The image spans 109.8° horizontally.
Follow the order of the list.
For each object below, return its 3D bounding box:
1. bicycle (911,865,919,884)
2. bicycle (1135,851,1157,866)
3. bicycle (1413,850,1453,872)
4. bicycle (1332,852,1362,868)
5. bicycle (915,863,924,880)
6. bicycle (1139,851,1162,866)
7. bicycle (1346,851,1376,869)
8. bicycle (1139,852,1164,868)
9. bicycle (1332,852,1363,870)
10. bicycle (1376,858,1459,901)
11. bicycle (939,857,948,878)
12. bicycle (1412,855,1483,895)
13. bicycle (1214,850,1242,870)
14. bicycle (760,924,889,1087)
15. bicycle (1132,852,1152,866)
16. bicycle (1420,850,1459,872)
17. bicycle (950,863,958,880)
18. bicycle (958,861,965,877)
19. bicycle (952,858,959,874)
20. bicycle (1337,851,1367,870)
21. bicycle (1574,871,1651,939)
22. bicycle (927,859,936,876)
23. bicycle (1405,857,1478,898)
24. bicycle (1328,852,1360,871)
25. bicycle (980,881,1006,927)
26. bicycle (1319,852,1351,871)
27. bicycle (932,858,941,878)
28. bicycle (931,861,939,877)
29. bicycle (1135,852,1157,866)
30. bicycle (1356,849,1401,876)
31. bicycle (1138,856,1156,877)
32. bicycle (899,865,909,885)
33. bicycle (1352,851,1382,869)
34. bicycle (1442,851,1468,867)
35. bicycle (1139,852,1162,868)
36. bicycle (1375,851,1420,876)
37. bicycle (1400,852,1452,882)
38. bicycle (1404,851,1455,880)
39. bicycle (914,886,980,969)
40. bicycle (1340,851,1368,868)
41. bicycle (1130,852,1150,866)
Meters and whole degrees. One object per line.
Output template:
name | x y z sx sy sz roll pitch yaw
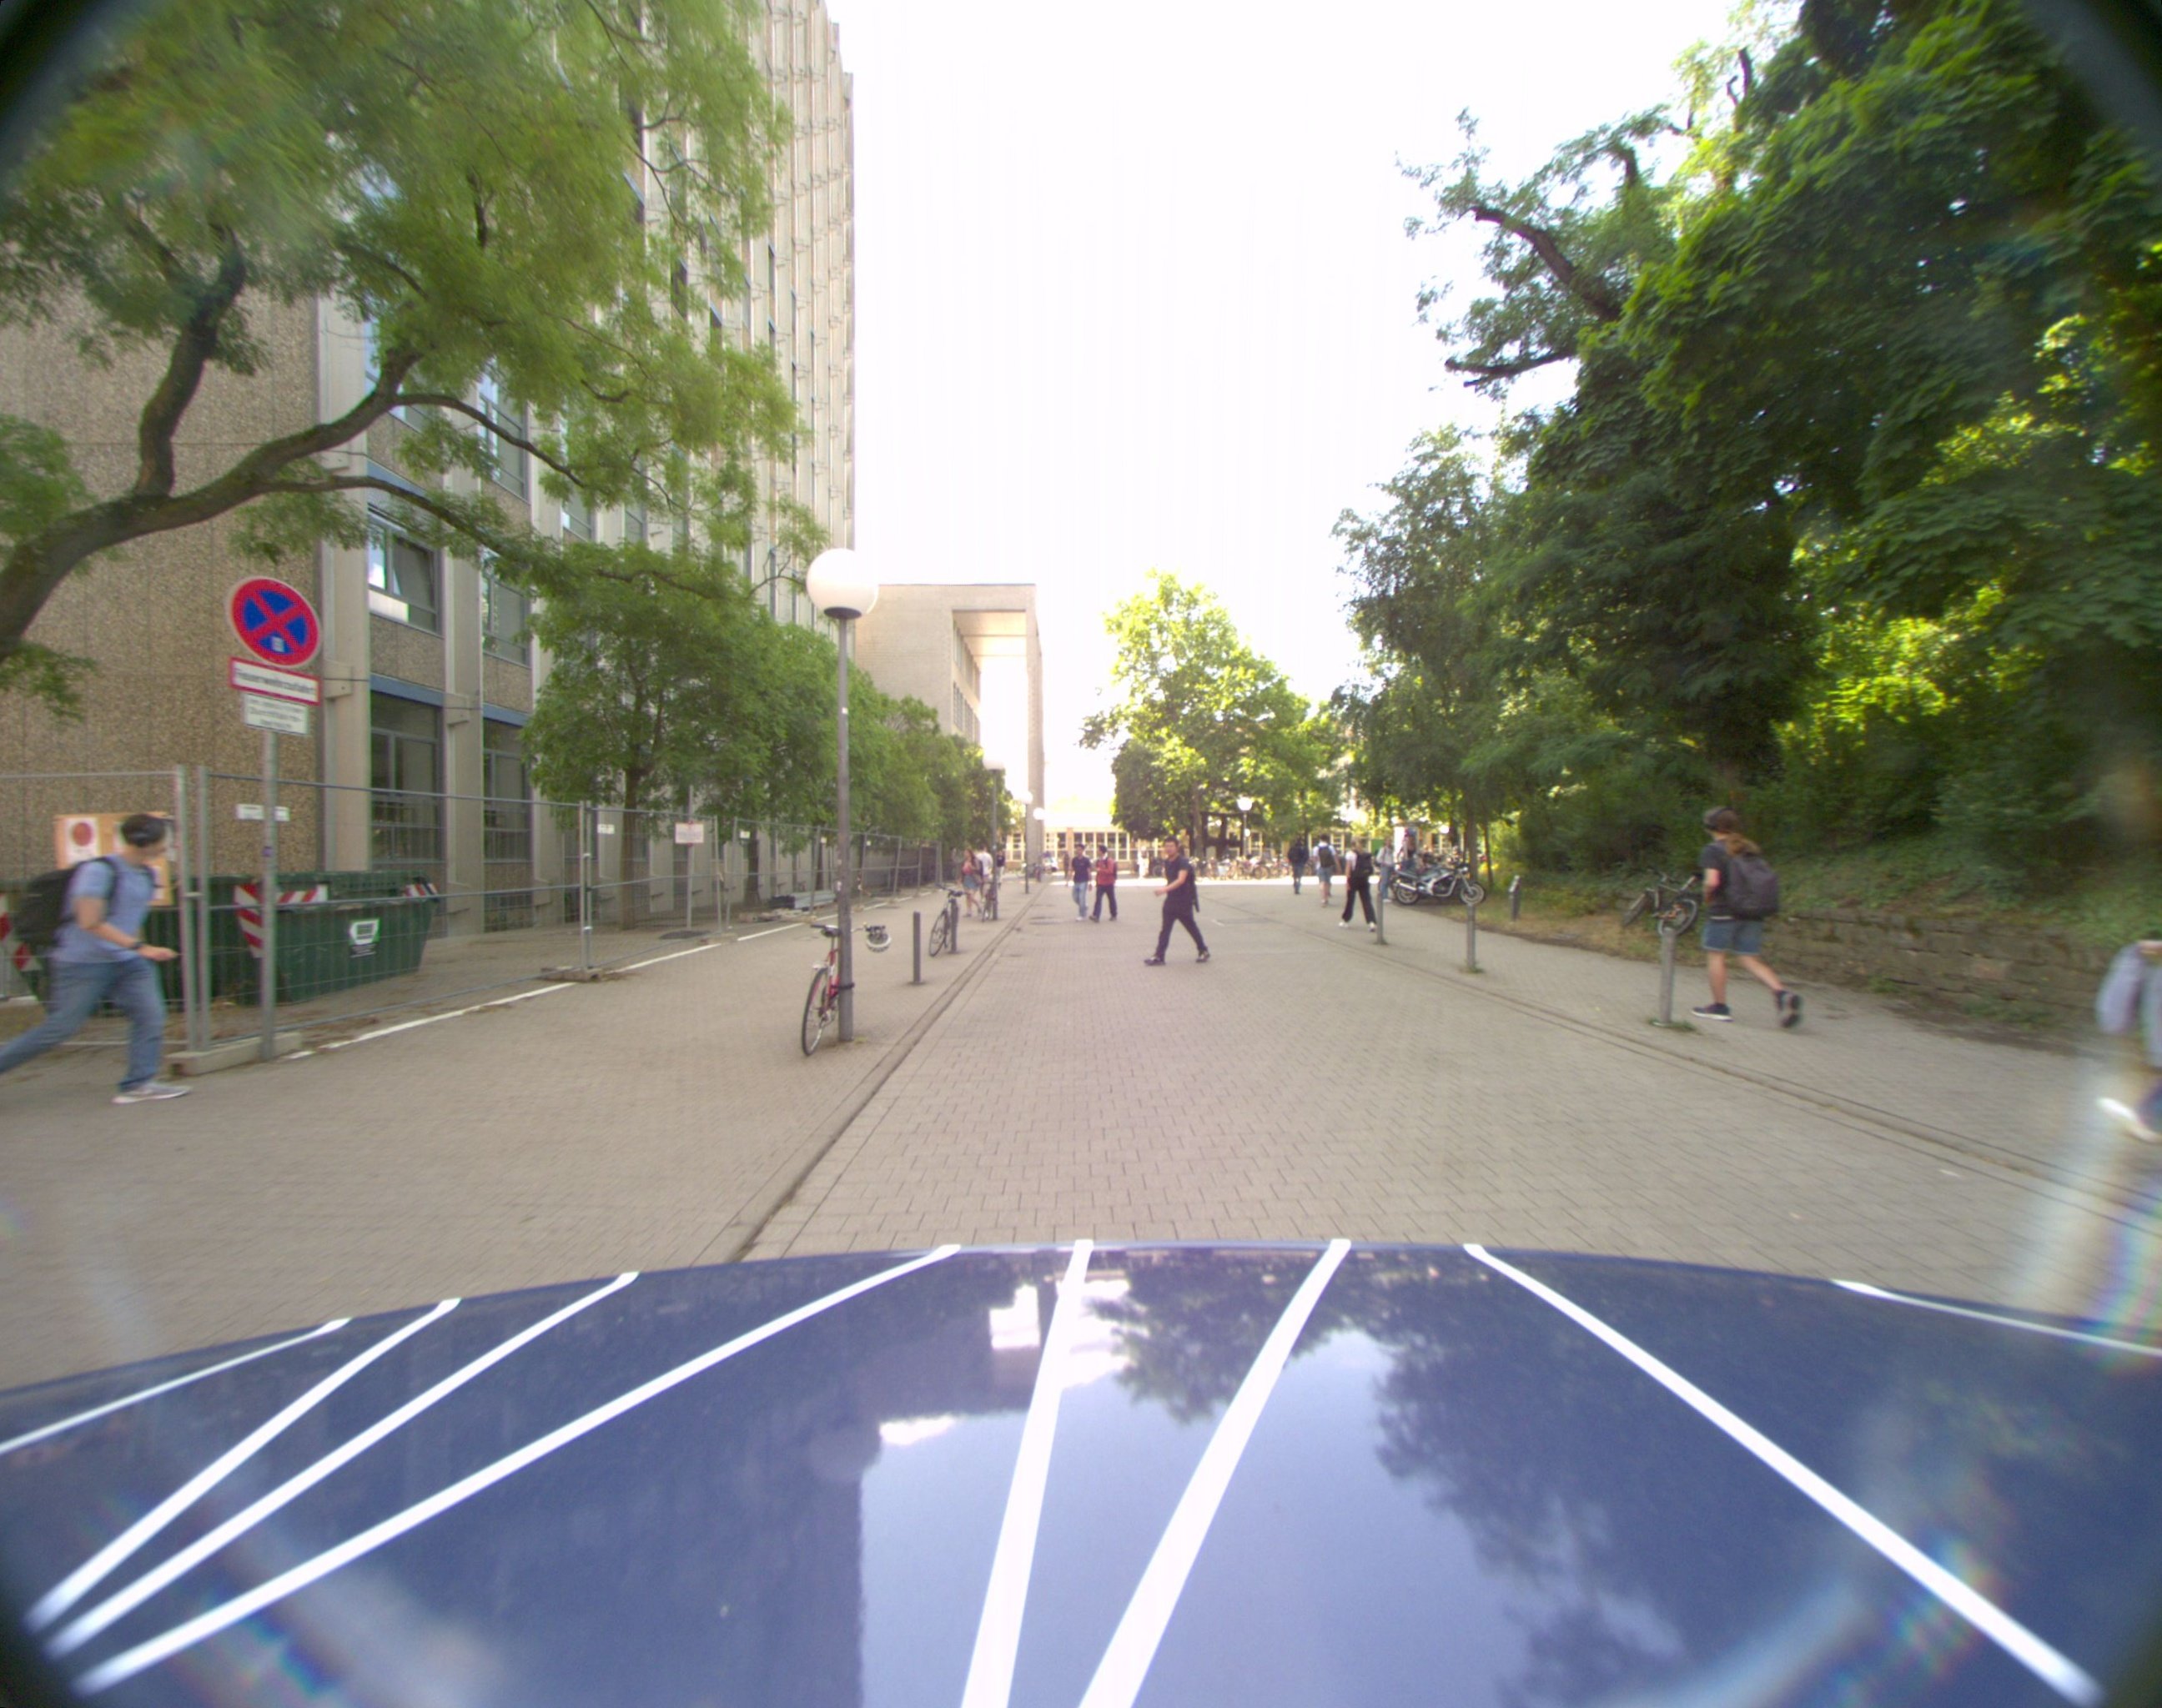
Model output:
bicycle | -8.280 0.997 37.963 0.291 0.900 1.803 0 0 -9
bicycle | 4.990 0.332 58.197 1.628 1.102 0.691 -1 1 4
bicycle | 18.004 0.337 38.851 1.773 1.104 0.518 0 1 41
bicycle | 15.931 0.361 45.538 0.453 0.956 1.735 -2 1 -40
bicycle | -8.691 0.932 40.844 0.291 0.900 1.447 0 1 -4
bicycle | 5.251 0.325 57.416 1.628 1.144 0.497 -1 1 0
bicycle | 16.928 0.362 45.950 0.475 1.077 1.695 -2 1 -40
bicycle | 5.212 0.424 56.015 1.785 1.155 0.496 -1 1 -6
bicycle | 15.704 0.412 44.822 1.694 1.077 0.475 0 2 42
bicycle | 8.678 0.635 19.662 0.543 1.041 1.903 -2 1 -41
bicycle | -7.806 0.753 43.158 0.291 1.122 1.447 0 1 -4
bicycle | 10.092 0.558 20.962 0.475 1.041 1.695 -2 1 -41
bicycle | 9.132 0.378 47.258 0.577 1.193 1.695 -2 1 -40
bicycle | -2.012 1.140 6.176 0.452 0.956 1.740 2 1 -1
bicycle | 4.998 0.397 62.425 1.629 1.101 0.497 0 -1 -1
bicycle | 18.620 0.365 39.512 1.773 1.104 0.518 0 1 41
bicycle | -6.880 0.944 41.091 0.291 0.900 1.447 0 1 -4
bicycle | -7.019 0.858 44.518 0.291 0.900 1.447 0 1 -4
bicycle | -7.357 0.698 44.521 0.291 0.900 1.447 0 1 -4
bicycle | 16.372 0.388 45.867 0.475 1.077 1.695 -2 1 -40
bicycle | 8.491 0.781 12.200 0.422 0.905 1.741 0 2 15
bicycle | -8.016 0.709 40.891 0.291 0.900 1.447 0 1 -4
bicycle | 9.692 0.624 20.475 0.475 1.041 1.695 -4 2 -41
bicycle | 15.370 0.414 44.404 1.694 1.077 0.475 0 2 42
bicycle | -2.019 1.119 17.489 0.396 0.930 1.731 2 1 -1
bicycle | 14.709 0.420 43.970 1.695 1.077 0.475 0 1 35
bicycle | -8.198 0.771 43.102 0.291 1.088 1.447 0 1 -4
bicycle | -8.581 0.865 44.655 0.291 0.900 1.447 0 1 -4
bicycle | 5.025 0.388 58.920 1.628 1.102 0.497 -1 1 4
bicycle | 12.975 0.364 33.168 1.773 1.104 0.475 0 2 43
bicycle | 3.513 0.666 40.445 0.604 1.077 1.698 -1 1 -8
bicycle | -8.340 0.979 35.826 0.291 0.900 1.617 0 0 -9
bicycle | 17.492 0.368 46.549 0.475 1.077 1.695 -2 1 -40
bicycle | 25.900 0.358 52.636 0.475 1.077 1.695 -2 1 -30
bicycle | 5.090 0.444 55.518 1.629 1.102 0.496 -1 1 -6
bicycle | 14.259 0.435 34.242 1.773 1.104 0.475 0 1 38
bicycle | 13.079 0.497 28.814 1.773 1.104 0.475 0 1 28
bicycle | 13.630 0.432 29.738 1.773 1.104 0.475 0 1 28
bicycle | -2.007 1.075 11.623 0.710 1.086 1.748 -1 1 -1
bicycle | 17.467 0.337 48.644 0.475 1.077 1.695 -2 1 -40
bicycle | 4.743 0.413 61.169 1.628 1.102 0.497 -1 1 4
